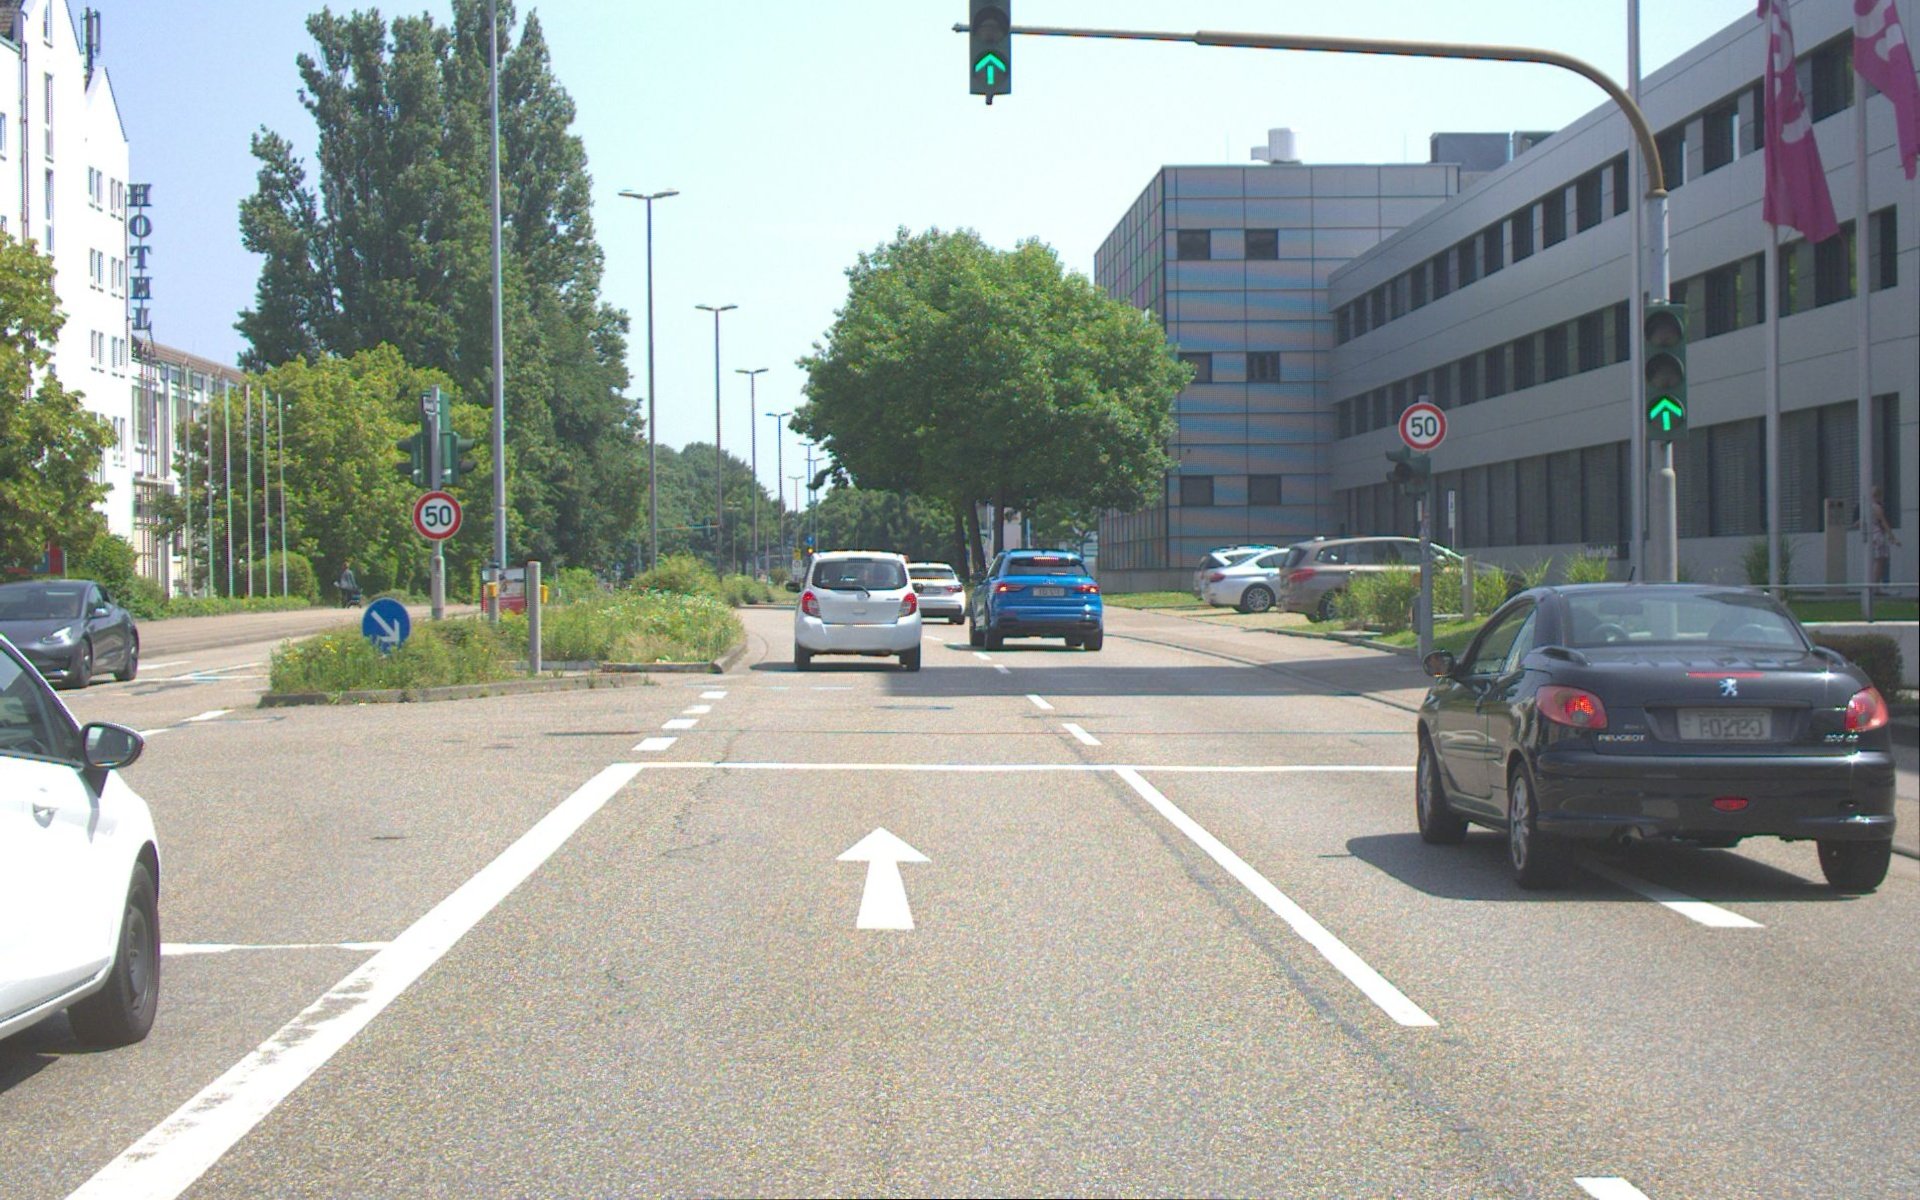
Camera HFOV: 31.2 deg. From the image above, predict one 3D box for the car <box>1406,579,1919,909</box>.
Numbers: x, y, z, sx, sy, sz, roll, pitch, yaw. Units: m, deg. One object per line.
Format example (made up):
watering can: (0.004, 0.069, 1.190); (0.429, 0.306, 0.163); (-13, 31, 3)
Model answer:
car: (3.235, 0.603, 16.463); (1.627, 1.359, 3.606); (0, 1, -2)

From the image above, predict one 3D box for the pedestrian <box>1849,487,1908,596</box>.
pedestrian: (14.148, -0.900, 52.964); (0.521, 1.657, 0.757); (-2, 1, -19)

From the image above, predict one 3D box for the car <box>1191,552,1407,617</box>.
car: (7.735, -0.370, 78.724); (4.612, 1.385, 2.000); (-1, 1, -5)

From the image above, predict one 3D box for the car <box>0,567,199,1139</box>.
car: (-3.298, 0.651, 9.307); (1.688, 1.429, 3.711); (-1, 1, -1)

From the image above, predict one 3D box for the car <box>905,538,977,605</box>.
car: (-0.420, -0.680, 79.927); (1.559, 1.515, 3.605); (-1, 1, 1)

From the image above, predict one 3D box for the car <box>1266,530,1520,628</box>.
car: (7.927, -0.398, 63.159); (4.258, 1.683, 2.000); (-1, 1, -5)

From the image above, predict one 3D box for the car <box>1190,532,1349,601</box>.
car: (8.114, -0.880, 90.184); (3.811, 1.586, 1.733); (-3, 1, -5)

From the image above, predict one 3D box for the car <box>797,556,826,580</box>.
car: (-10.694, -2.313, 247.636); (1.819, 1.656, 4.001); (-1, 1, -5)

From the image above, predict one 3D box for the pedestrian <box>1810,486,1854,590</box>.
pedestrian: (13.850, -0.982, 54.622); (0.593, 1.629, 0.523); (-1, 1, 7)

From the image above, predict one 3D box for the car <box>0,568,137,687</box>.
car: (-12.465, 0.342, 46.259); (1.993, 1.481, 4.502); (-1, 1, -4)

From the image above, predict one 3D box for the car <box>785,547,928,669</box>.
car: (-1.318, 0.068, 45.082); (1.748, 1.515, 3.746); (0, 1, 0)

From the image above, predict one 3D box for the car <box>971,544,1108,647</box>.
car: (1.241, -0.098, 55.029); (1.827, 1.575, 3.606); (-1, 1, -4)
